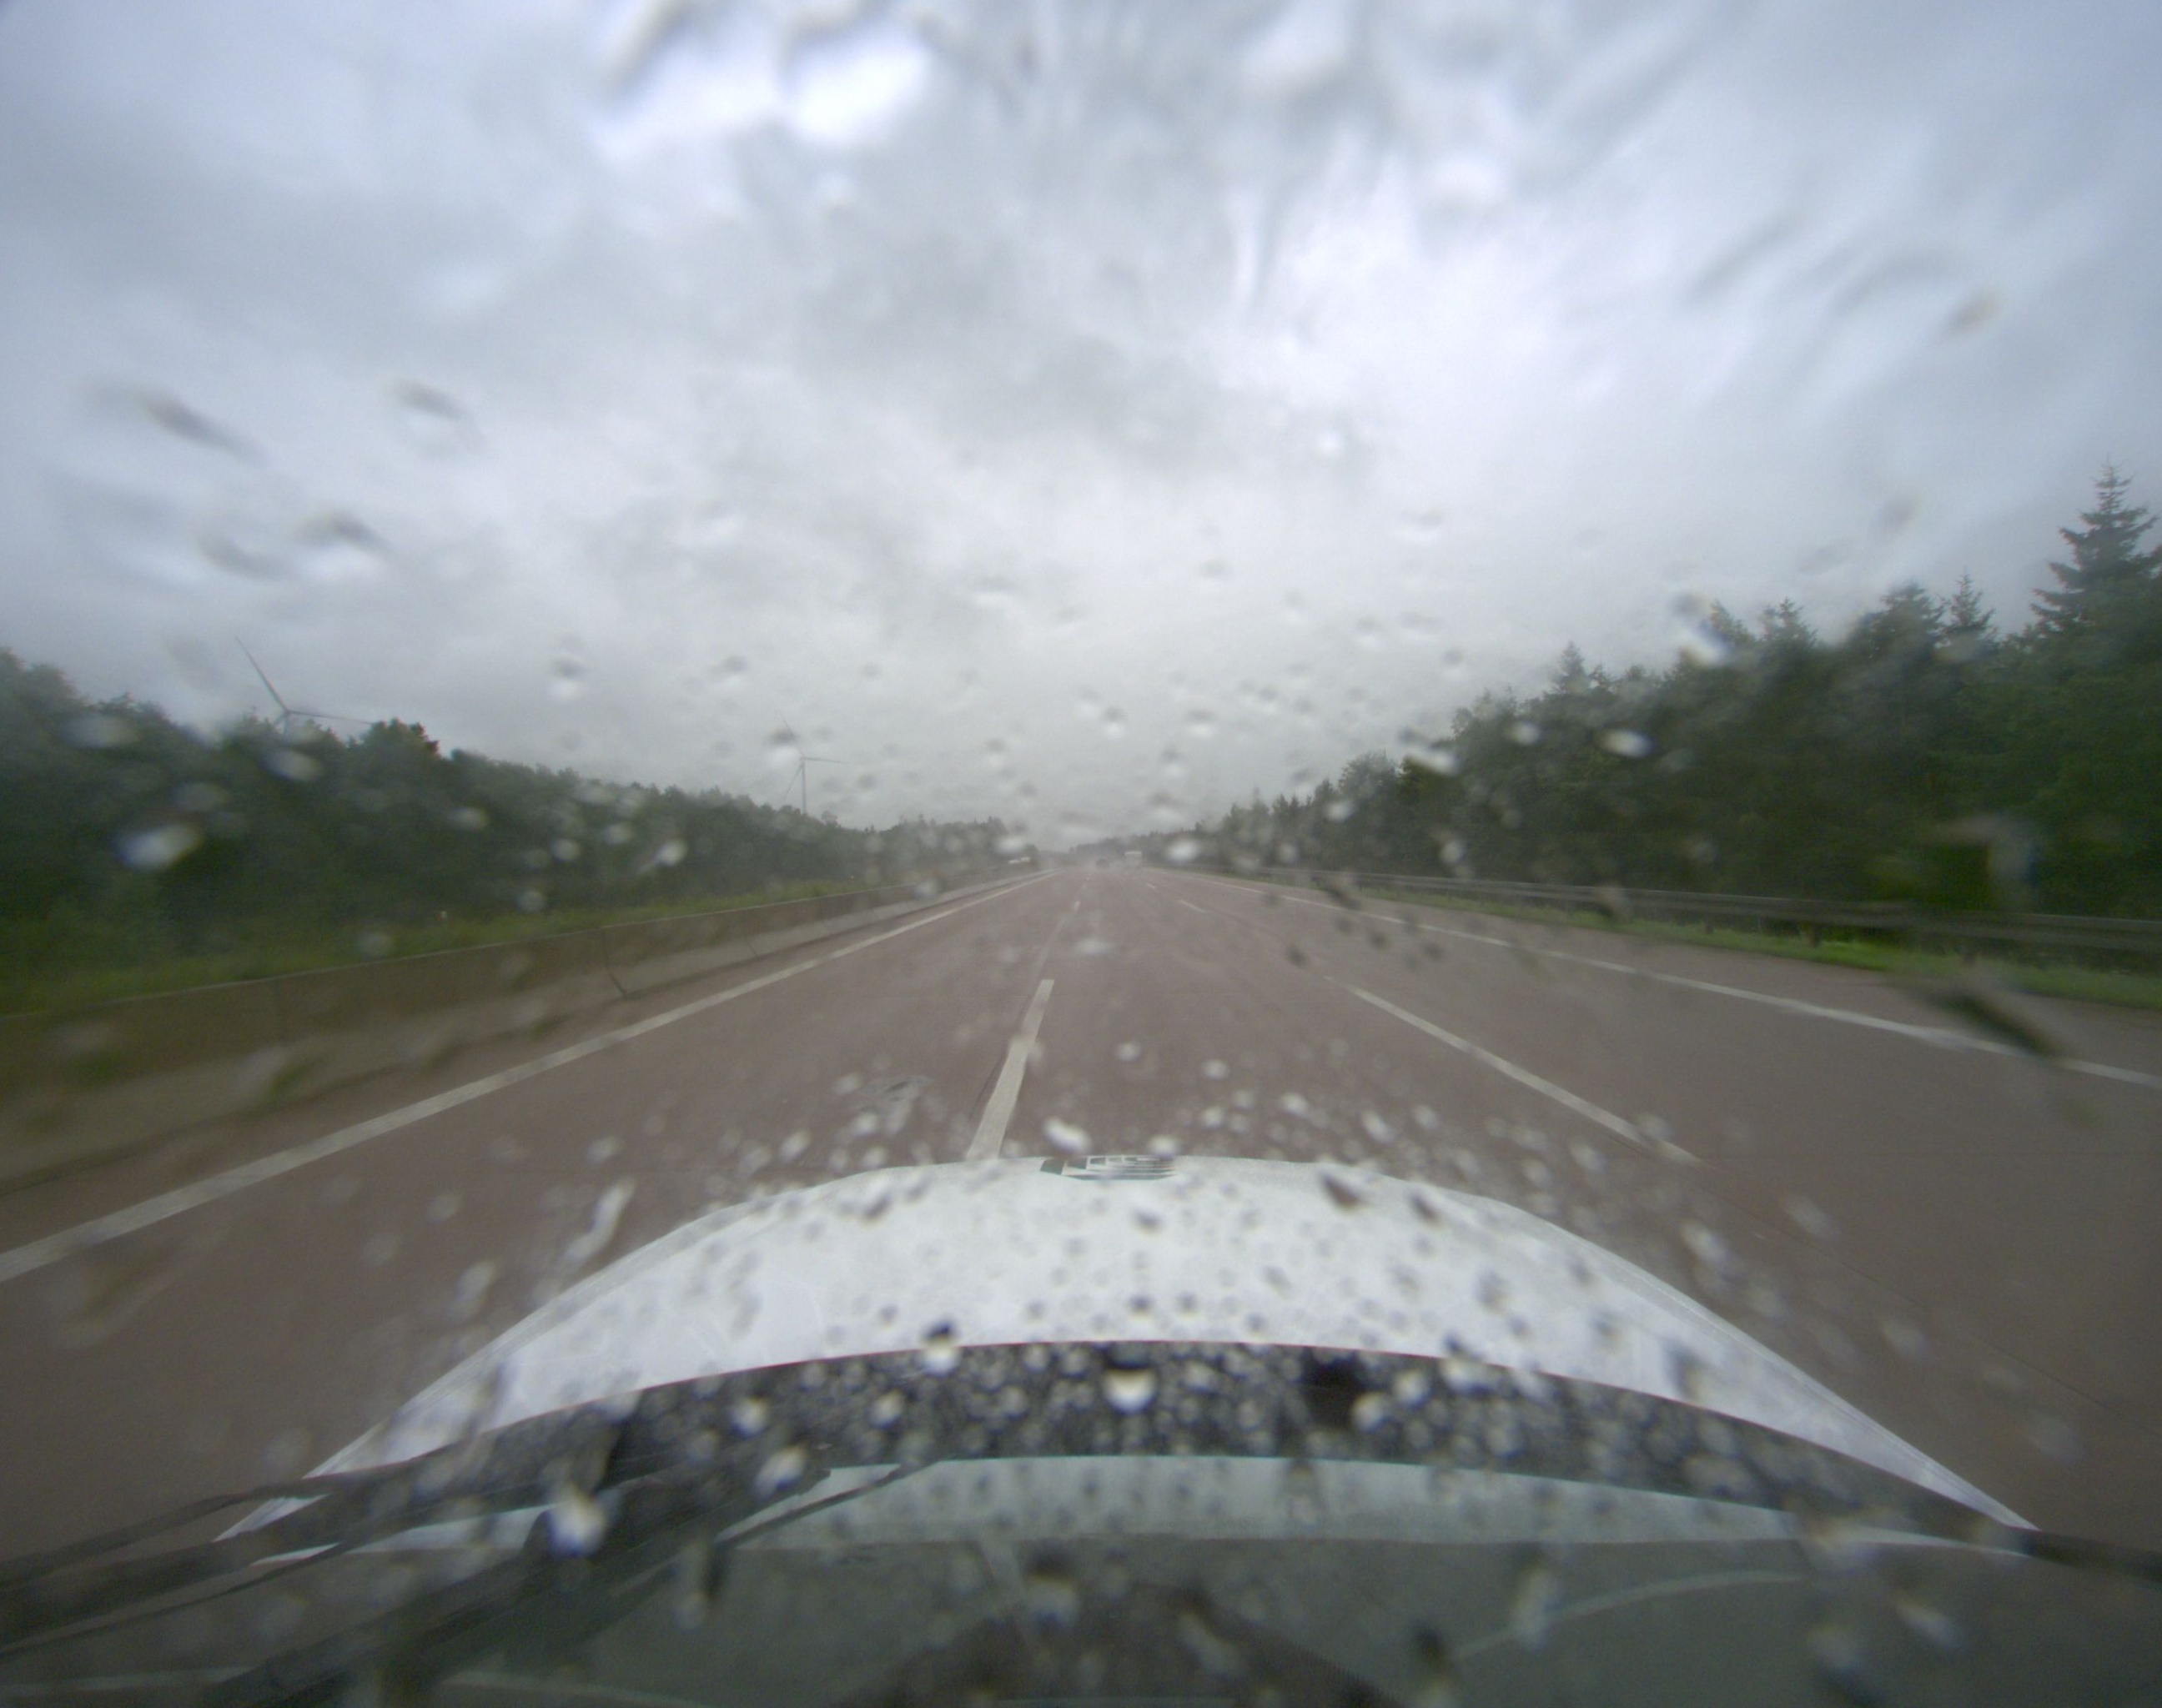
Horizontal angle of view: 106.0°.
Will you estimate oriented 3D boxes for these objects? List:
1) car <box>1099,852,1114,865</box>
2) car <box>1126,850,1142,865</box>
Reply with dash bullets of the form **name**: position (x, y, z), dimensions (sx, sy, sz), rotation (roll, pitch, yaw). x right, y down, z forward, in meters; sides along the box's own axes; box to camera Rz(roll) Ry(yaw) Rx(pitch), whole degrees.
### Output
- **car**: position (3.597, 0.639, 113.813), dimensions (1.930, 1.729, 4.132), rotation (-1, 0, 2)
- **car**: position (7.371, 0.446, 113.398), dimensions (2.050, 1.999, 4.100), rotation (2, 0, 2)
